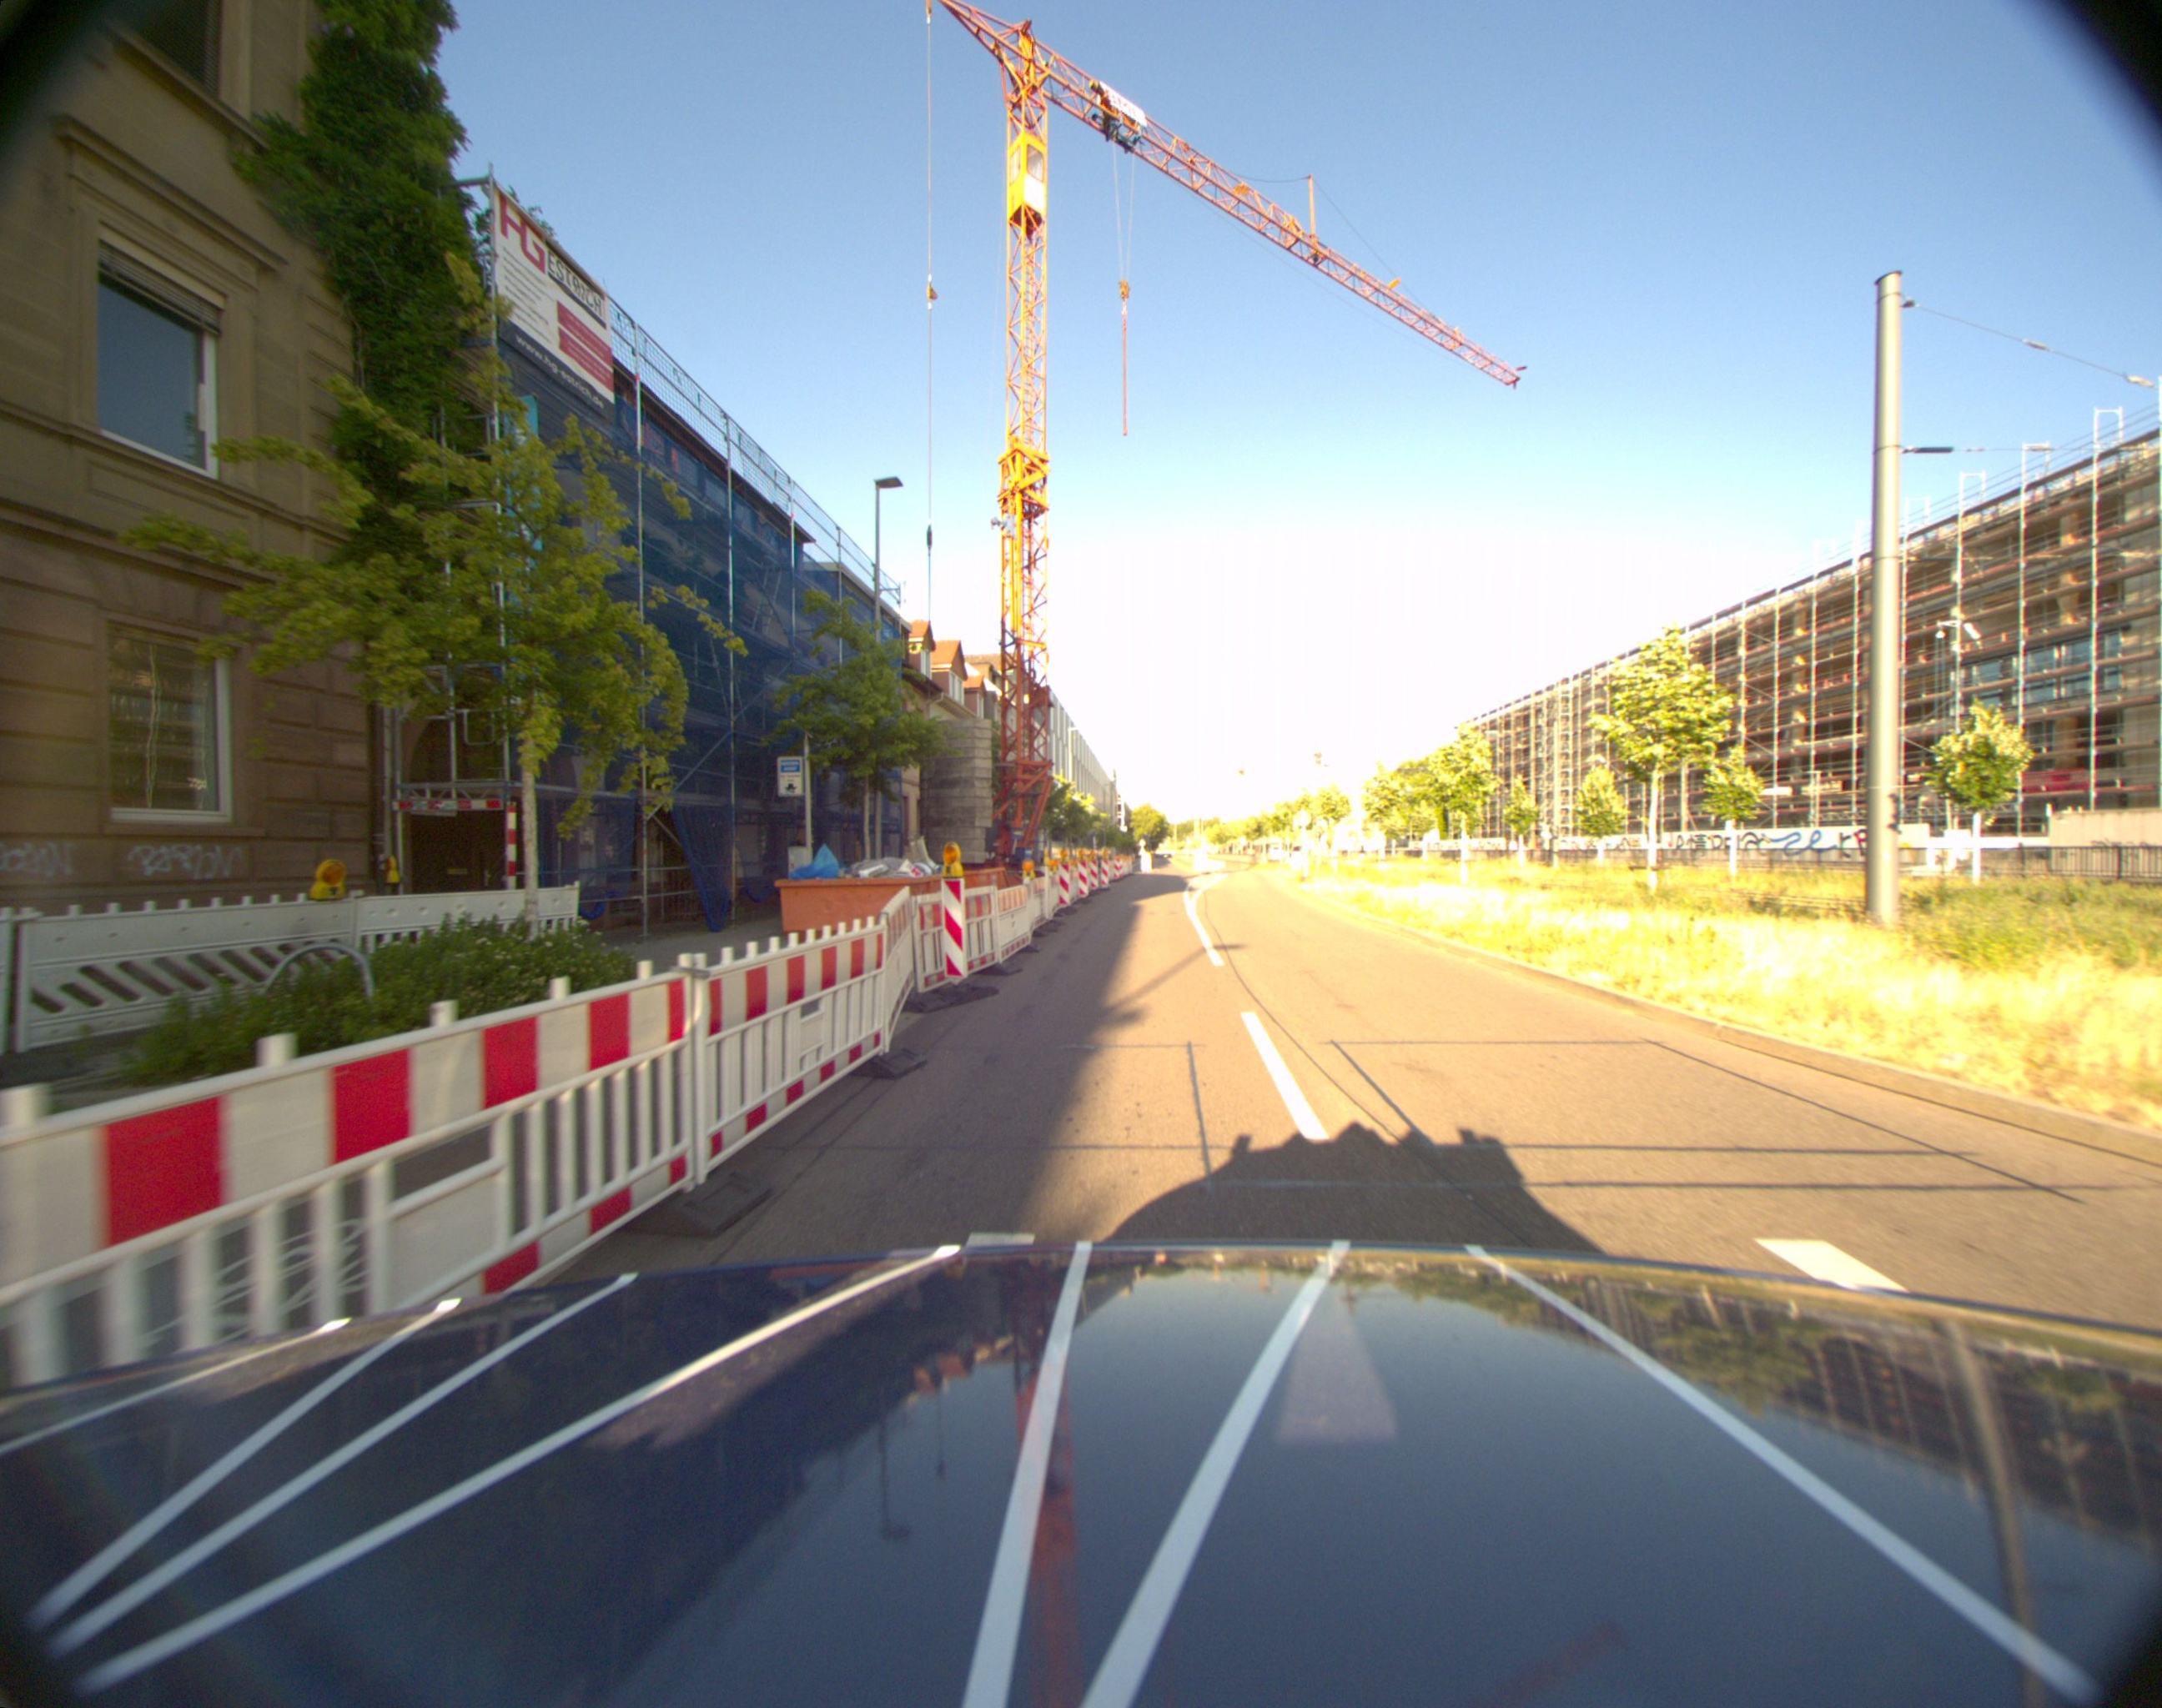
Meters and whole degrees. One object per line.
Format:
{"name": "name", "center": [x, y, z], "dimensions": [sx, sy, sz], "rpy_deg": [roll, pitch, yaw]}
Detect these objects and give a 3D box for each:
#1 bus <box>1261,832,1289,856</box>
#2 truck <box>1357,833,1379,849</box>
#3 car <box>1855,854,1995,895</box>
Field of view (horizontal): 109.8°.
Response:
{"name": "bus", "center": [28.079, -1.427, 110.286], "dimensions": [2.722, 3.204, 8.659], "rpy_deg": [0, 0, 7]}
{"name": "truck", "center": [45.562, -2.057, 120.710], "dimensions": [2.142, 2.559, 4.742], "rpy_deg": [0, 1, 8]}
{"name": "car", "center": [33.903, 0.777, 30.691], "dimensions": [1.607, 1.549, 3.843], "rpy_deg": [0, 1, 6]}
